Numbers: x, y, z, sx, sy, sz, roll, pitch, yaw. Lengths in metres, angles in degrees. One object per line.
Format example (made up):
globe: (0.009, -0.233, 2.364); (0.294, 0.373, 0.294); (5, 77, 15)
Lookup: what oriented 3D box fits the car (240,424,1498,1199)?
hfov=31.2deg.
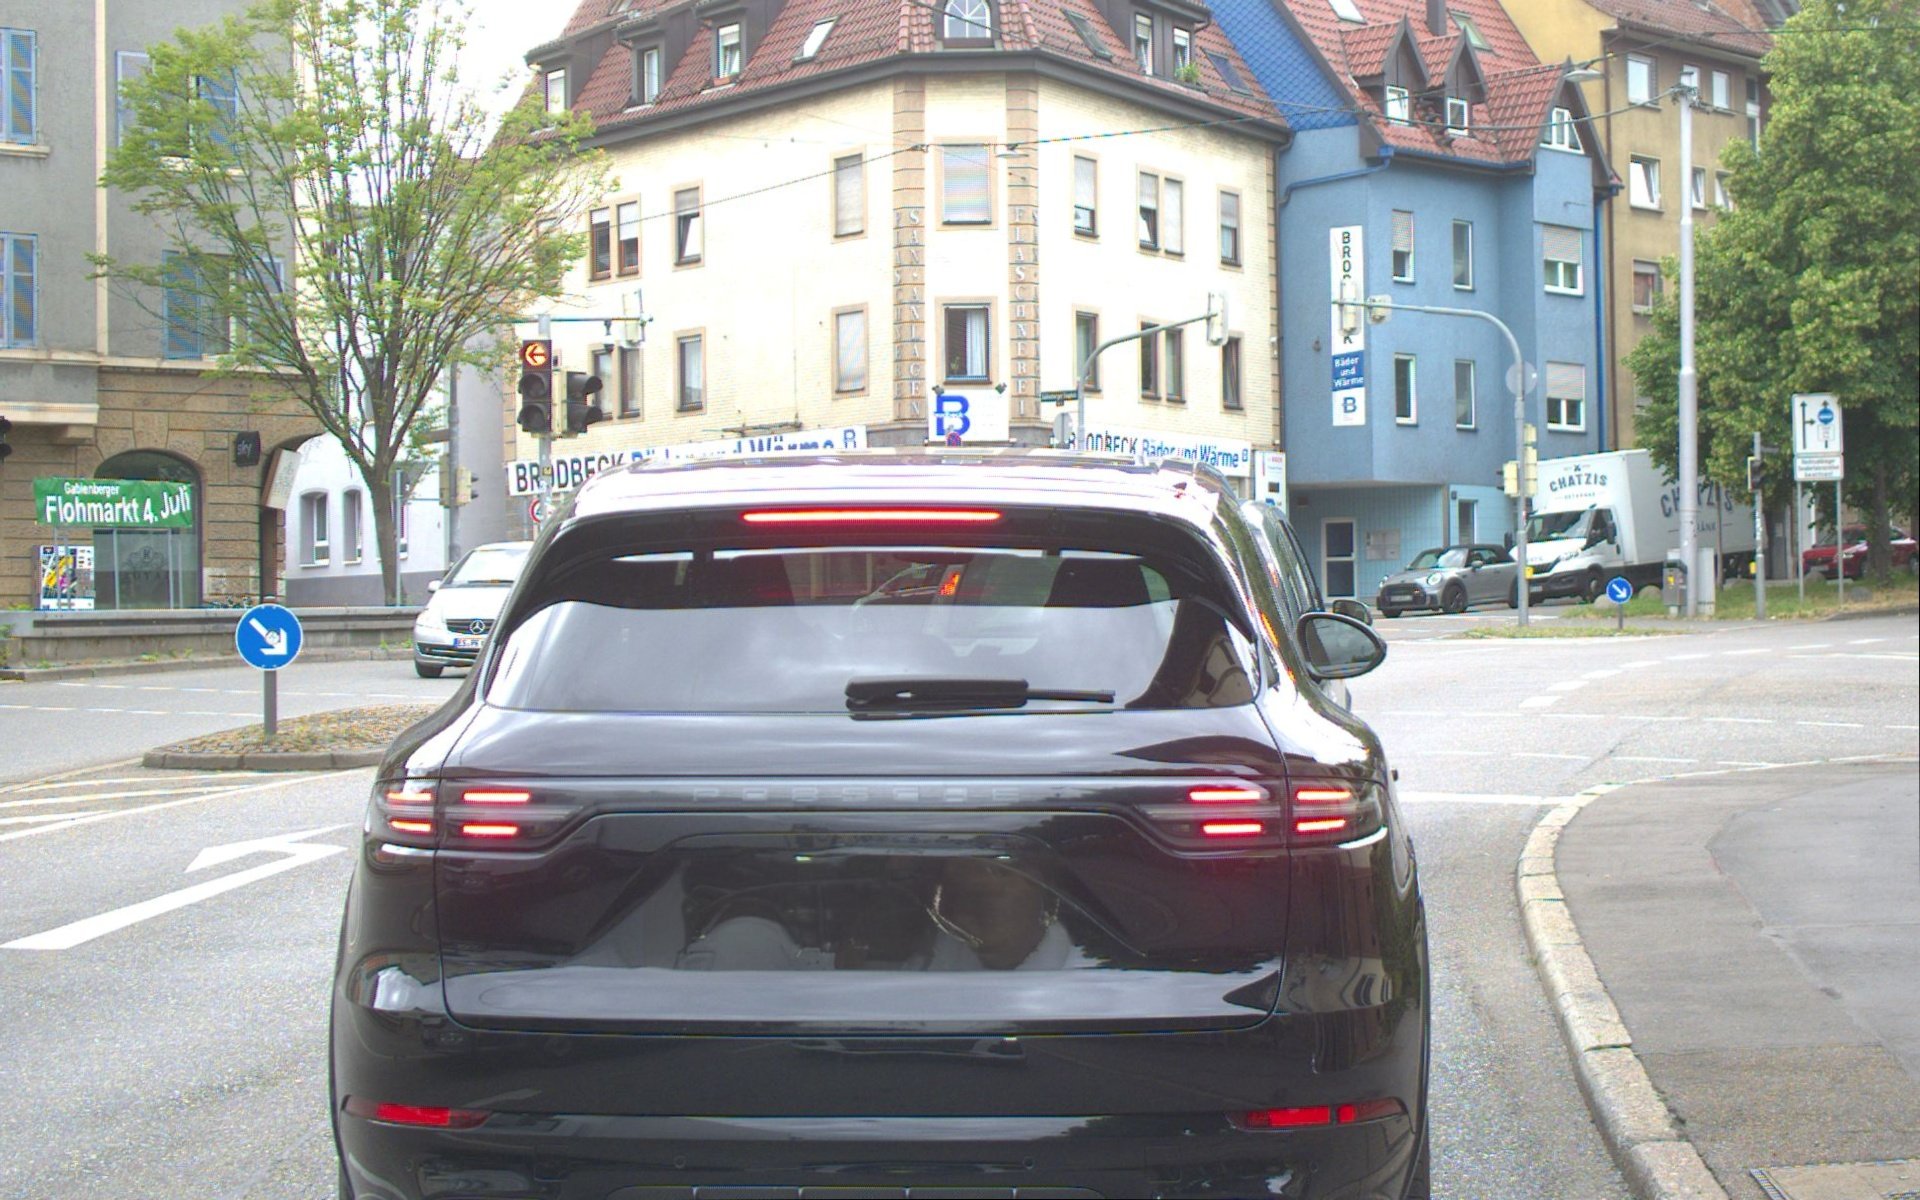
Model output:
car: (-0.251, 0.508, 7.420); (1.978, 1.678, 4.001); (0, 2, -3)

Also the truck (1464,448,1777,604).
truck: (15.193, -1.641, 78.509); (2.880, 3.328, 8.772); (2, 1, 41)

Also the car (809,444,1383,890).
car: (0.745, 0.224, 15.080); (1.994, 1.678, 3.998); (0, 1, 10)

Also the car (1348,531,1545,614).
car: (10.184, -0.590, 71.901); (3.989, 1.678, 1.999); (-1, 1, -42)

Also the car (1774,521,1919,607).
car: (22.333, -0.888, 86.167); (1.999, 2.007, 3.990); (2, 1, 43)

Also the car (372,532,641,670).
car: (-5.386, 0.025, 41.320); (1.890, 1.574, 3.967); (0, 0, 14)
